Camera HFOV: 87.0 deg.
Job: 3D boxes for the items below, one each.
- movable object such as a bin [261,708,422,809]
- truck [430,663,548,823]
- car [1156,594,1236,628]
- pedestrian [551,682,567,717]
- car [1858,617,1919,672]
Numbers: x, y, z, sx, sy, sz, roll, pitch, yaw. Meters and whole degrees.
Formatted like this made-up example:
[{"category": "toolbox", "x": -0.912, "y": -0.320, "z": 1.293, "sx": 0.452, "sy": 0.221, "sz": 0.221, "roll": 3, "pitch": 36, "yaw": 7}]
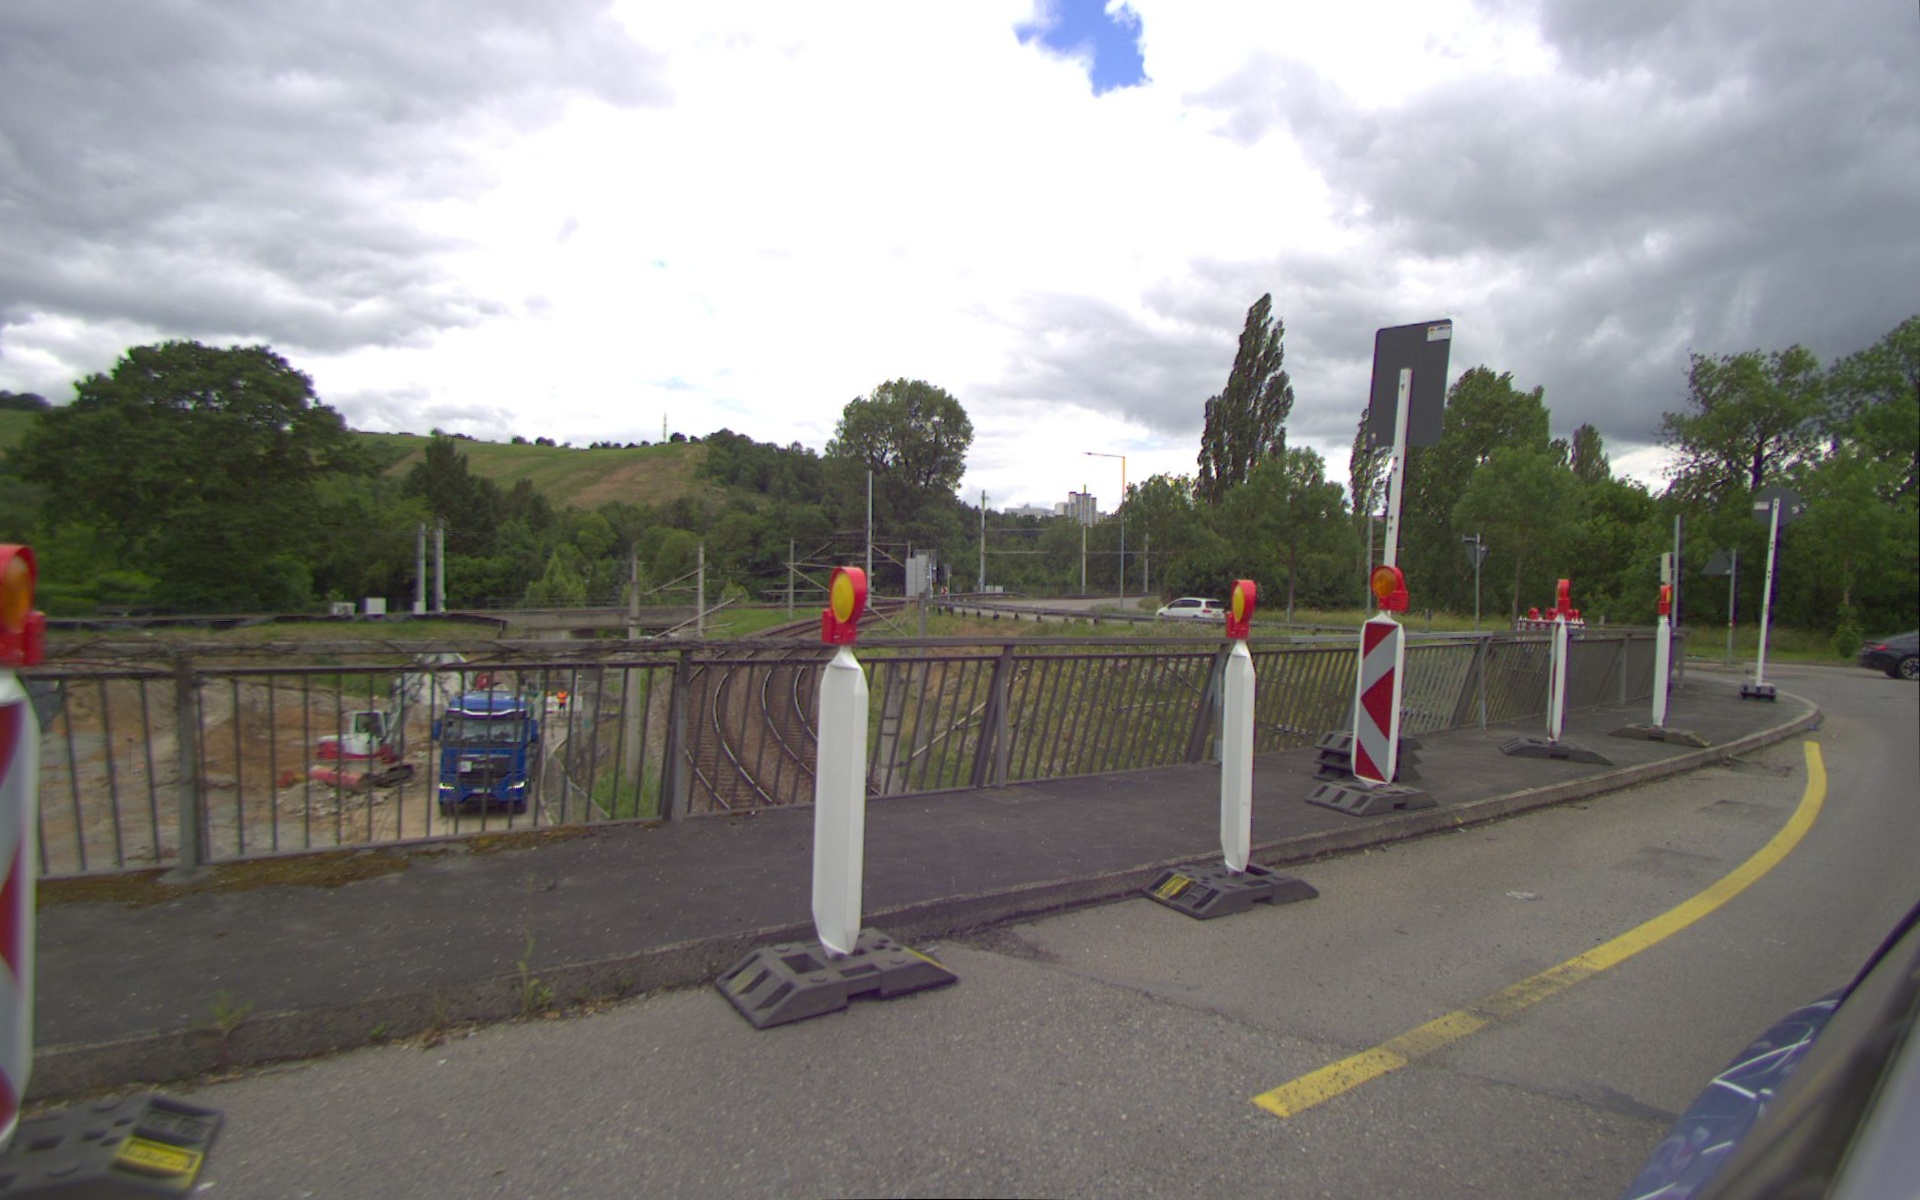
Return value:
[{"category": "movable object such as a bin", "x": -21.044, "y": 5.345, "z": 34.711, "sx": 2.987, "sy": 2.784, "sz": 4.290, "roll": 1, "pitch": -1, "yaw": -3}, {"category": "truck", "x": -16.265, "y": 4.563, "z": 35.710, "sx": 2.787, "sy": 3.943, "sz": 11.643, "roll": 1, "pitch": 0, "yaw": -20}, {"category": "car", "x": 13.187, "y": 0.589, "z": 56.880, "sx": 2.040, "sy": 1.782, "sz": 4.328, "roll": 2, "pitch": -1, "yaw": -27}, {"category": "pedestrian", "x": -23.978, "y": 5.932, "z": 60.522, "sx": 0.808, "sy": 2.040, "sz": 0.684, "roll": 2, "pitch": -3, "yaw": -22}, {"category": "car", "x": 28.460, "y": 1.325, "z": 28.145, "sx": 4.927, "sy": 1.495, "sz": 1.857, "roll": 2, "pitch": 0, "yaw": 32}]
